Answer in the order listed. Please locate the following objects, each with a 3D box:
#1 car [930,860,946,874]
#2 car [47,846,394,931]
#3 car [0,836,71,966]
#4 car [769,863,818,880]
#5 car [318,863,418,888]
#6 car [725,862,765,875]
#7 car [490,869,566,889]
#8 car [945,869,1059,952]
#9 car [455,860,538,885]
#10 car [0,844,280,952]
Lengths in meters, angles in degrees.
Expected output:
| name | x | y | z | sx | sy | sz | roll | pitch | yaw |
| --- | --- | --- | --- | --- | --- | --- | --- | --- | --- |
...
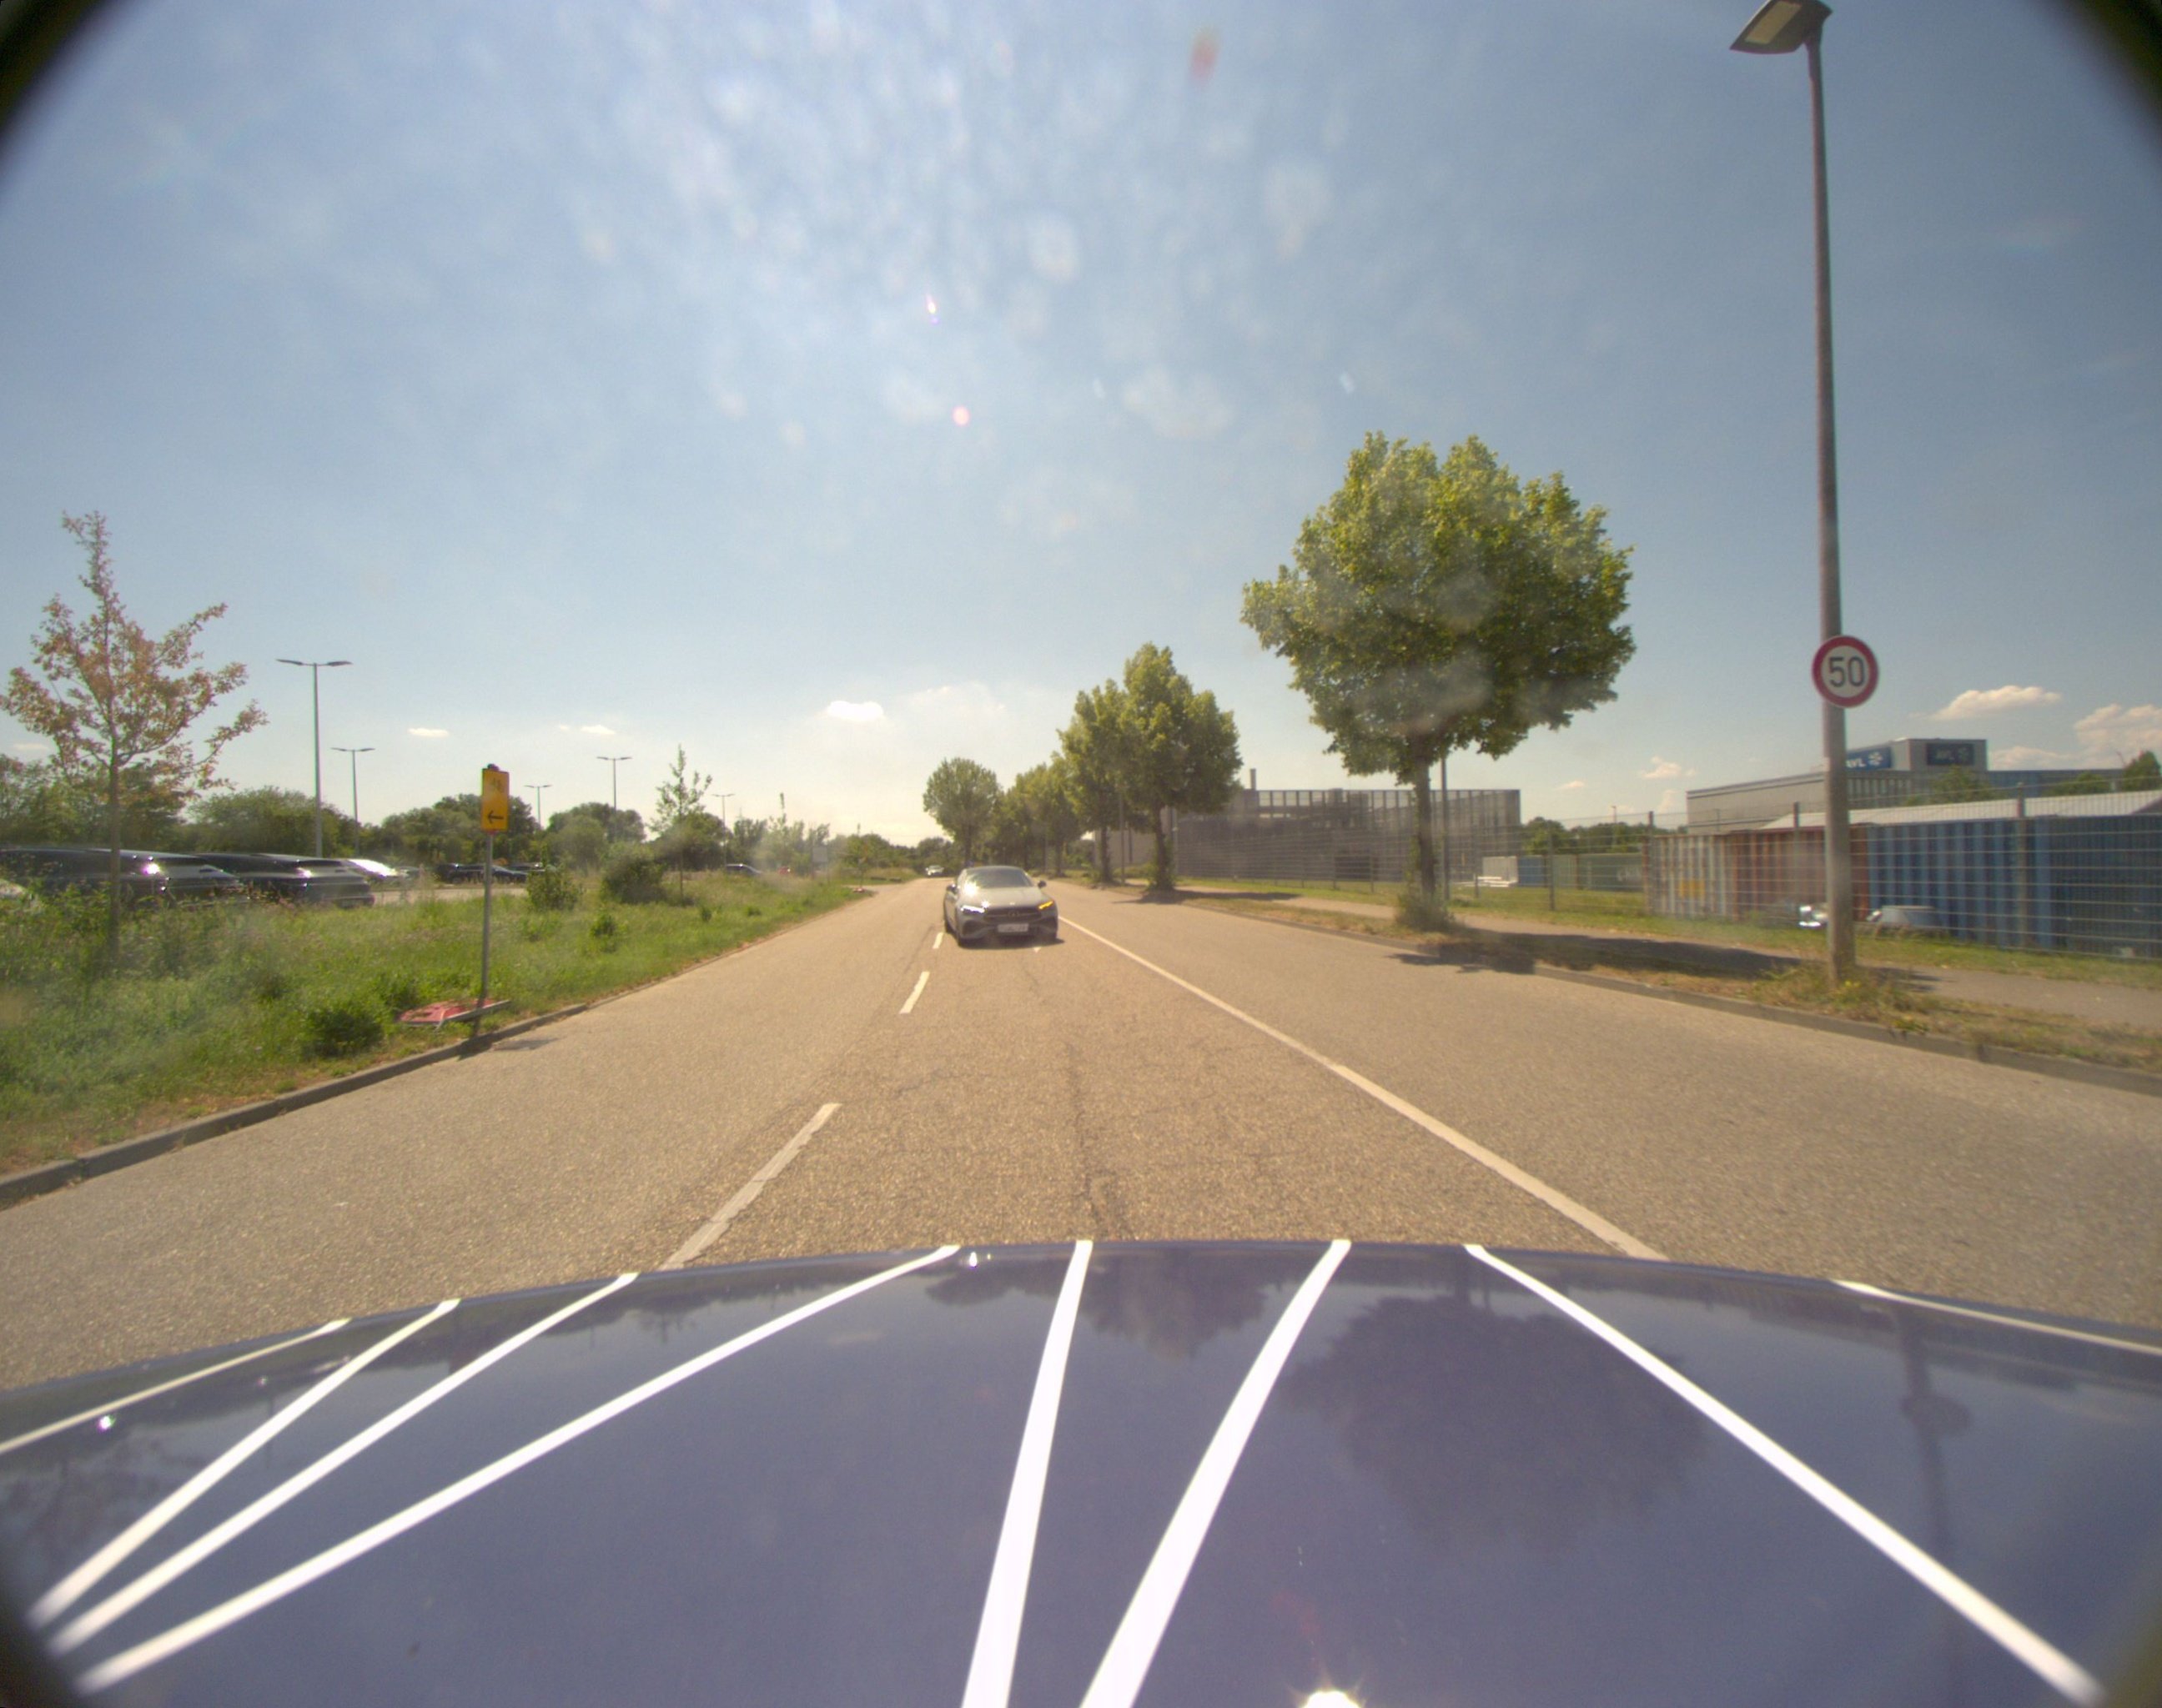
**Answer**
| name | x | y | z | sx | sy | sz | roll | pitch | yaw |
| --- | --- | --- | --- | --- | --- | --- | --- | --- | --- |
| car | -16.666 | 1.500 | 88.663 | 1.674 | 1.367 | 4.493 | -4 | 1 | -8 |
| car | -16.046 | 0.584 | 14.421 | 4.000 | 1.284 | 1.907 | -3 | 1 | -9 |
| car | -15.389 | 0.581 | 9.081 | 3.851 | 1.614 | 1.615 | 0 | 0 | -12 |
| car | -26.502 | 1.579 | 70.067 | 4.001 | 1.343 | 1.644 | -3 | 1 | -14 |
| car | -36.197 | 1.081 | 38.666 | 3.463 | 1.216 | 1.464 | 0 | 0 | -10 |
| car | -39.449 | 1.677 | 89.250 | 4.001 | 1.343 | 1.644 | -3 | 1 | -14 |
| car | -39.000 | 1.746 | 53.658 | 4.002 | 1.343 | 1.645 | 0 | 0 | -14 |
| car | -1.792 | 1.040 | 15.714 | 1.899 | 1.375 | 4.629 | -2 | -1 | -11 |
| car | -38.965 | 1.215 | 50.775 | 4.001 | 1.343 | 1.644 | -3 | 1 | -14 |
| car | -15.696 | 0.632 | 11.690 | 4.403 | 1.536 | 1.813 | 0 | 0 | -11 |
